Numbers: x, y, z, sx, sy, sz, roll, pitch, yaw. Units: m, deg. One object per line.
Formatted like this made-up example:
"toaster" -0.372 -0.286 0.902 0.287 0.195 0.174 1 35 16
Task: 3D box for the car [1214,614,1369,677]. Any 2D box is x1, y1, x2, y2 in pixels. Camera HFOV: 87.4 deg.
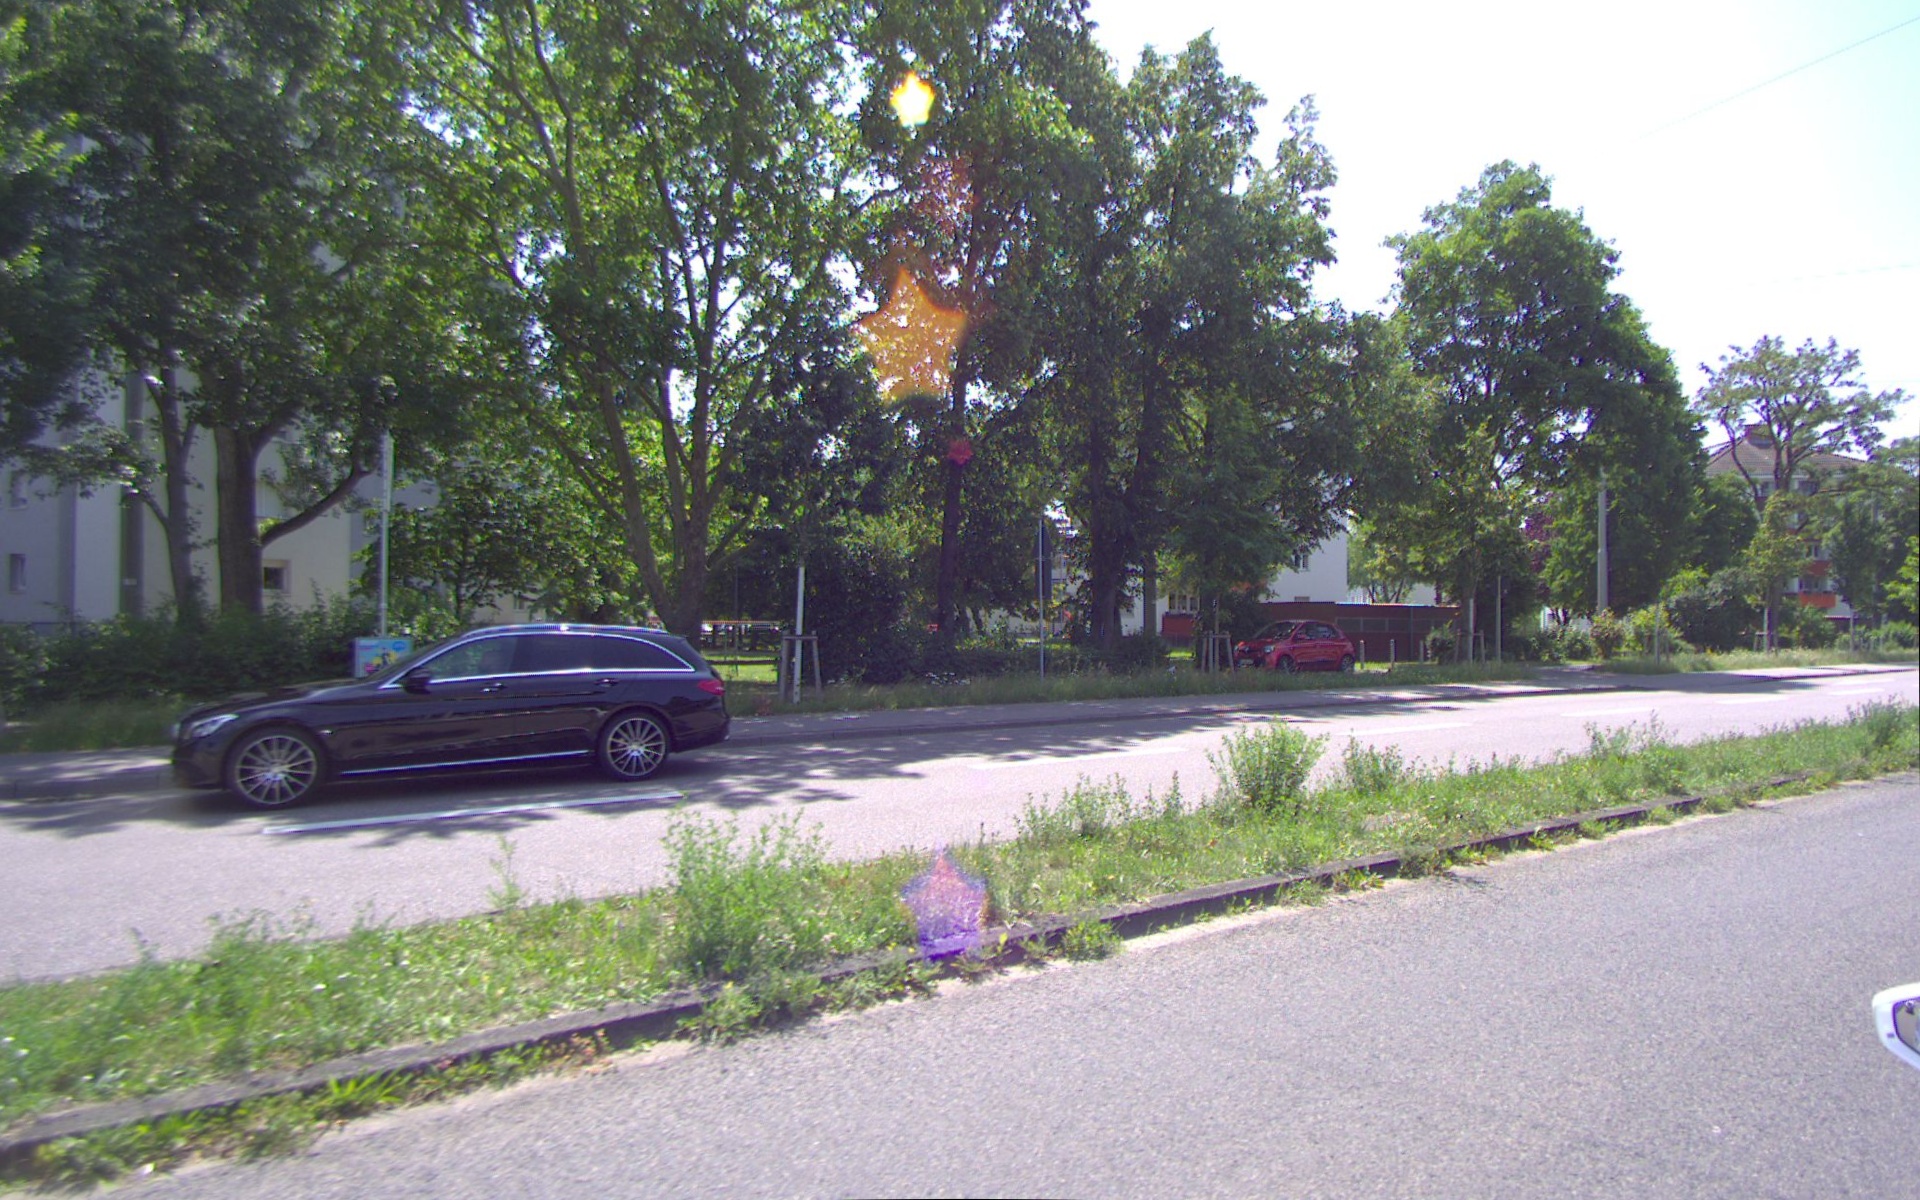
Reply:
"car" 9.158 1.207 27.730 3.954 1.606 1.984 1 -1 -31

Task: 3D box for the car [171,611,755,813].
"car" -4.437 0.921 9.551 4.581 1.528 1.732 1 -3 -30

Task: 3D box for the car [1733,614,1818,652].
"car" 35.680 1.464 43.920 4.040 1.574 1.757 2 -4 -34
